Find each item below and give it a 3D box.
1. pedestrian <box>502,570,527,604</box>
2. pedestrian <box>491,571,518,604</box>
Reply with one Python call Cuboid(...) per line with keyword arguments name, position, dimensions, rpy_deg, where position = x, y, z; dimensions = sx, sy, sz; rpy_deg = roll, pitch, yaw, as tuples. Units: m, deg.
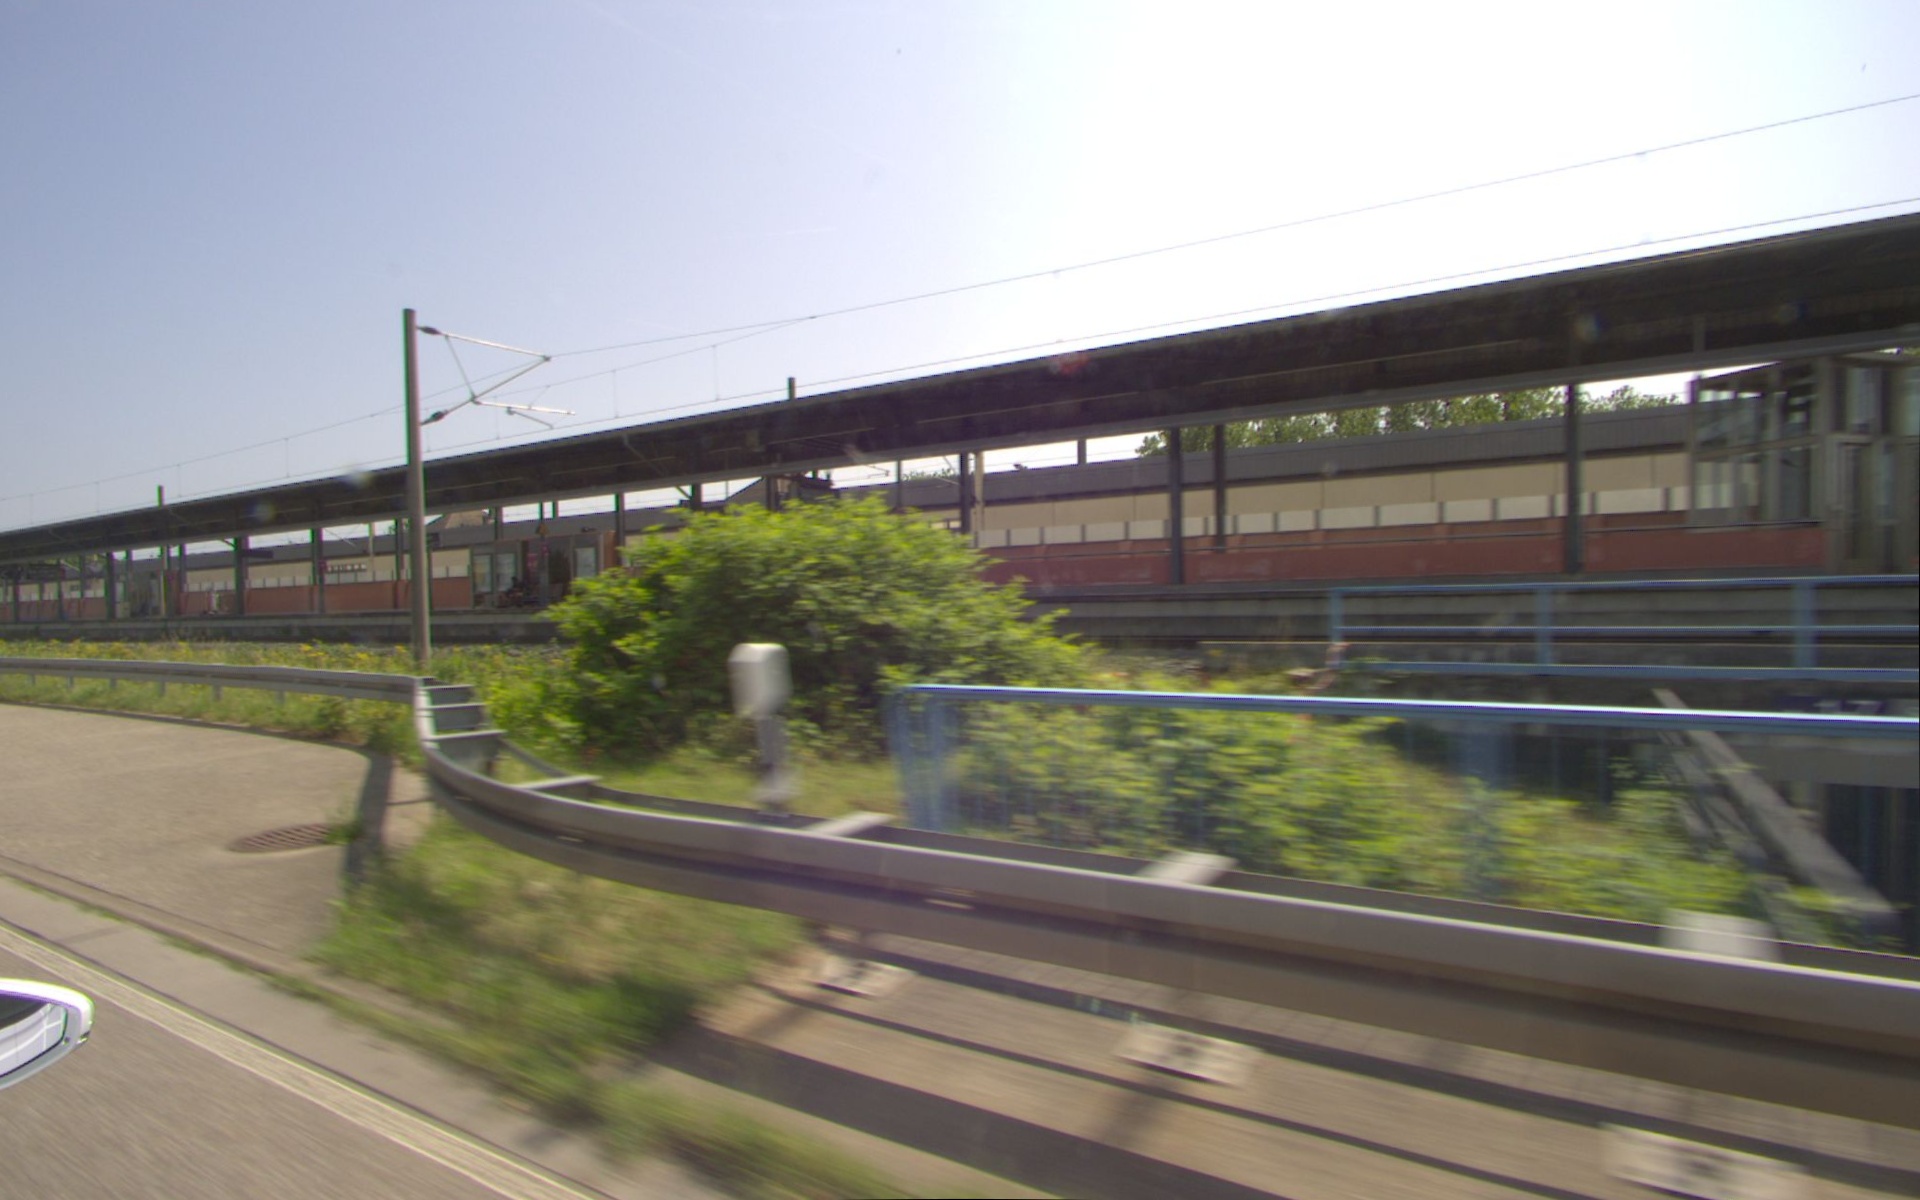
Cuboid(name="pedestrian", position=(-16.375, -0.477, 36.812), dimensions=(0.523, 1.230, 0.675), rpy_deg=(0, -1, 30))
Cuboid(name="pedestrian", position=(-16.865, -0.459, 37.107), dimensions=(0.582, 1.209, 0.694), rpy_deg=(0, -1, 30))
